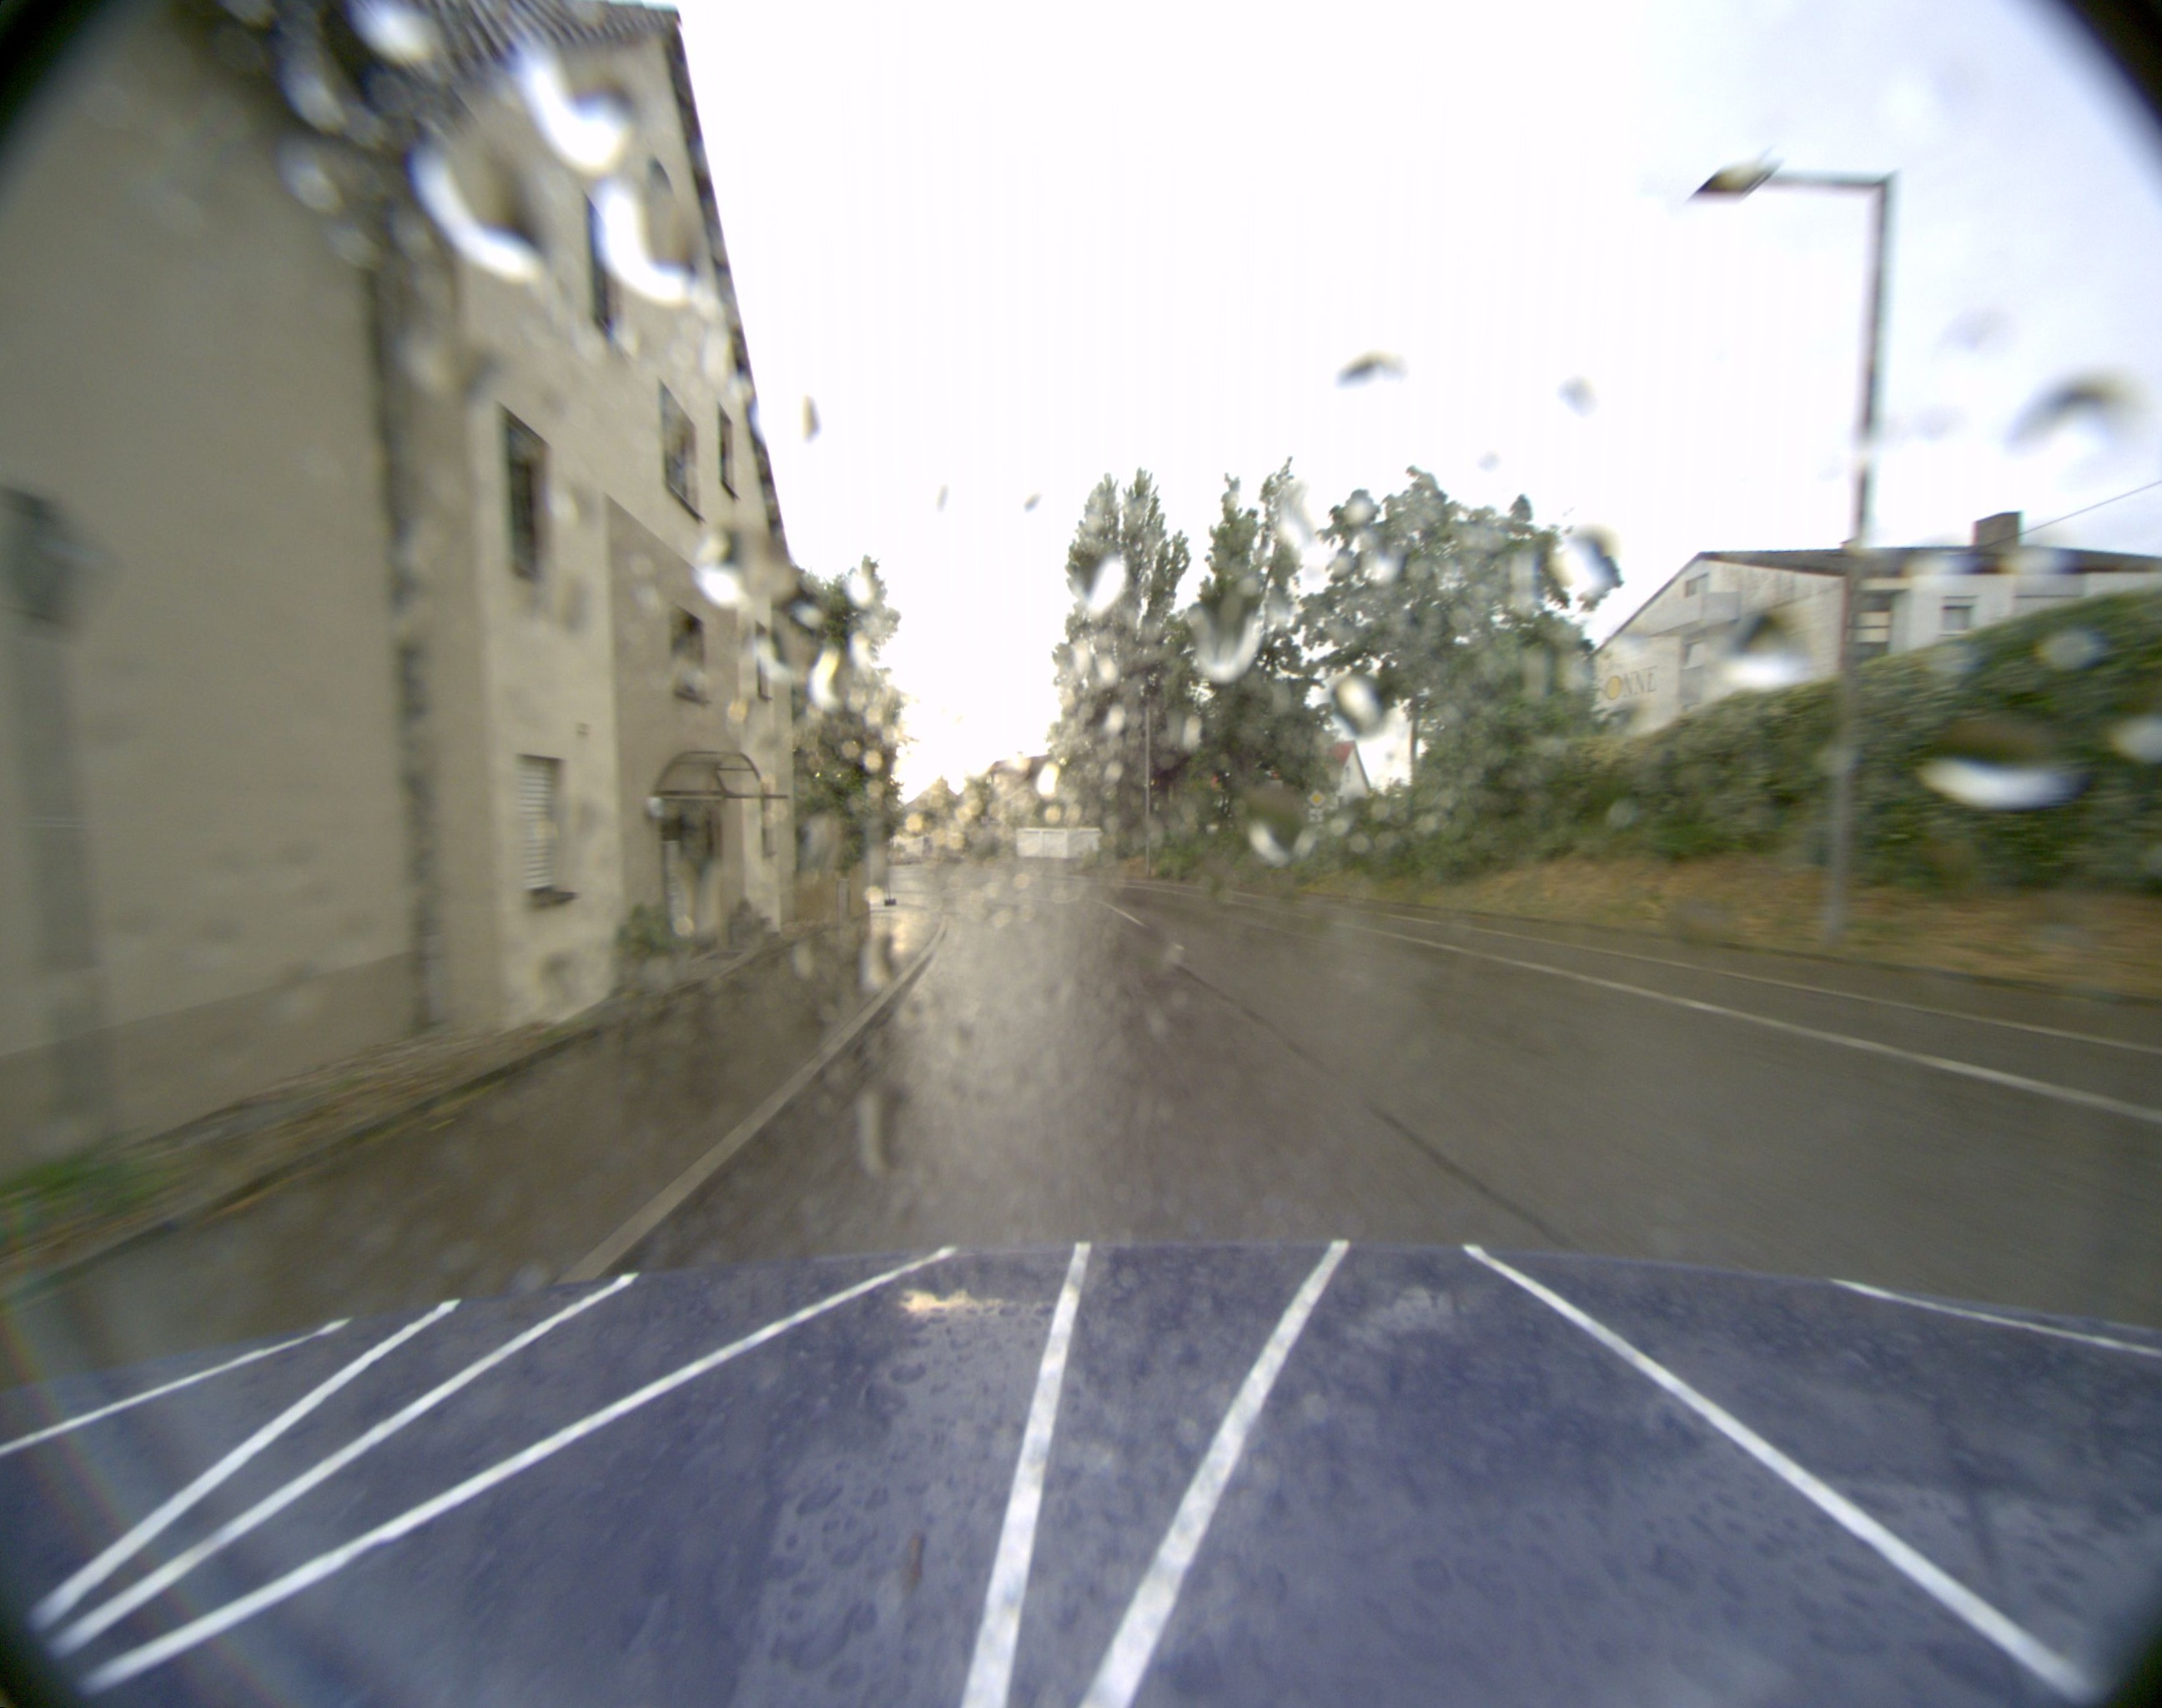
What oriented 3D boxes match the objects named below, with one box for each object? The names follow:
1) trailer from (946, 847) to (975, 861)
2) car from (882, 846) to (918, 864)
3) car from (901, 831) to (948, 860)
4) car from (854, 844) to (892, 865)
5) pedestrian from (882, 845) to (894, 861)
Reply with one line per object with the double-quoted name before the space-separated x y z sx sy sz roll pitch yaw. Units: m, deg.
"trailer" -10.511 -0.002 66.194 1.595 1.001 2.816 -6 3 -27
"car" -18.680 0.053 78.295 2.070 1.697 4.781 -5 3 -33
"car" -14.975 -0.850 72.390 2.194 2.510 6.237 -5 3 -33
"car" -18.596 -0.006 67.826 2.070 1.697 4.781 -5 3 -29
"pedestrian" -19.118 -0.120 75.294 0.826 1.502 0.974 -5 4 -27
